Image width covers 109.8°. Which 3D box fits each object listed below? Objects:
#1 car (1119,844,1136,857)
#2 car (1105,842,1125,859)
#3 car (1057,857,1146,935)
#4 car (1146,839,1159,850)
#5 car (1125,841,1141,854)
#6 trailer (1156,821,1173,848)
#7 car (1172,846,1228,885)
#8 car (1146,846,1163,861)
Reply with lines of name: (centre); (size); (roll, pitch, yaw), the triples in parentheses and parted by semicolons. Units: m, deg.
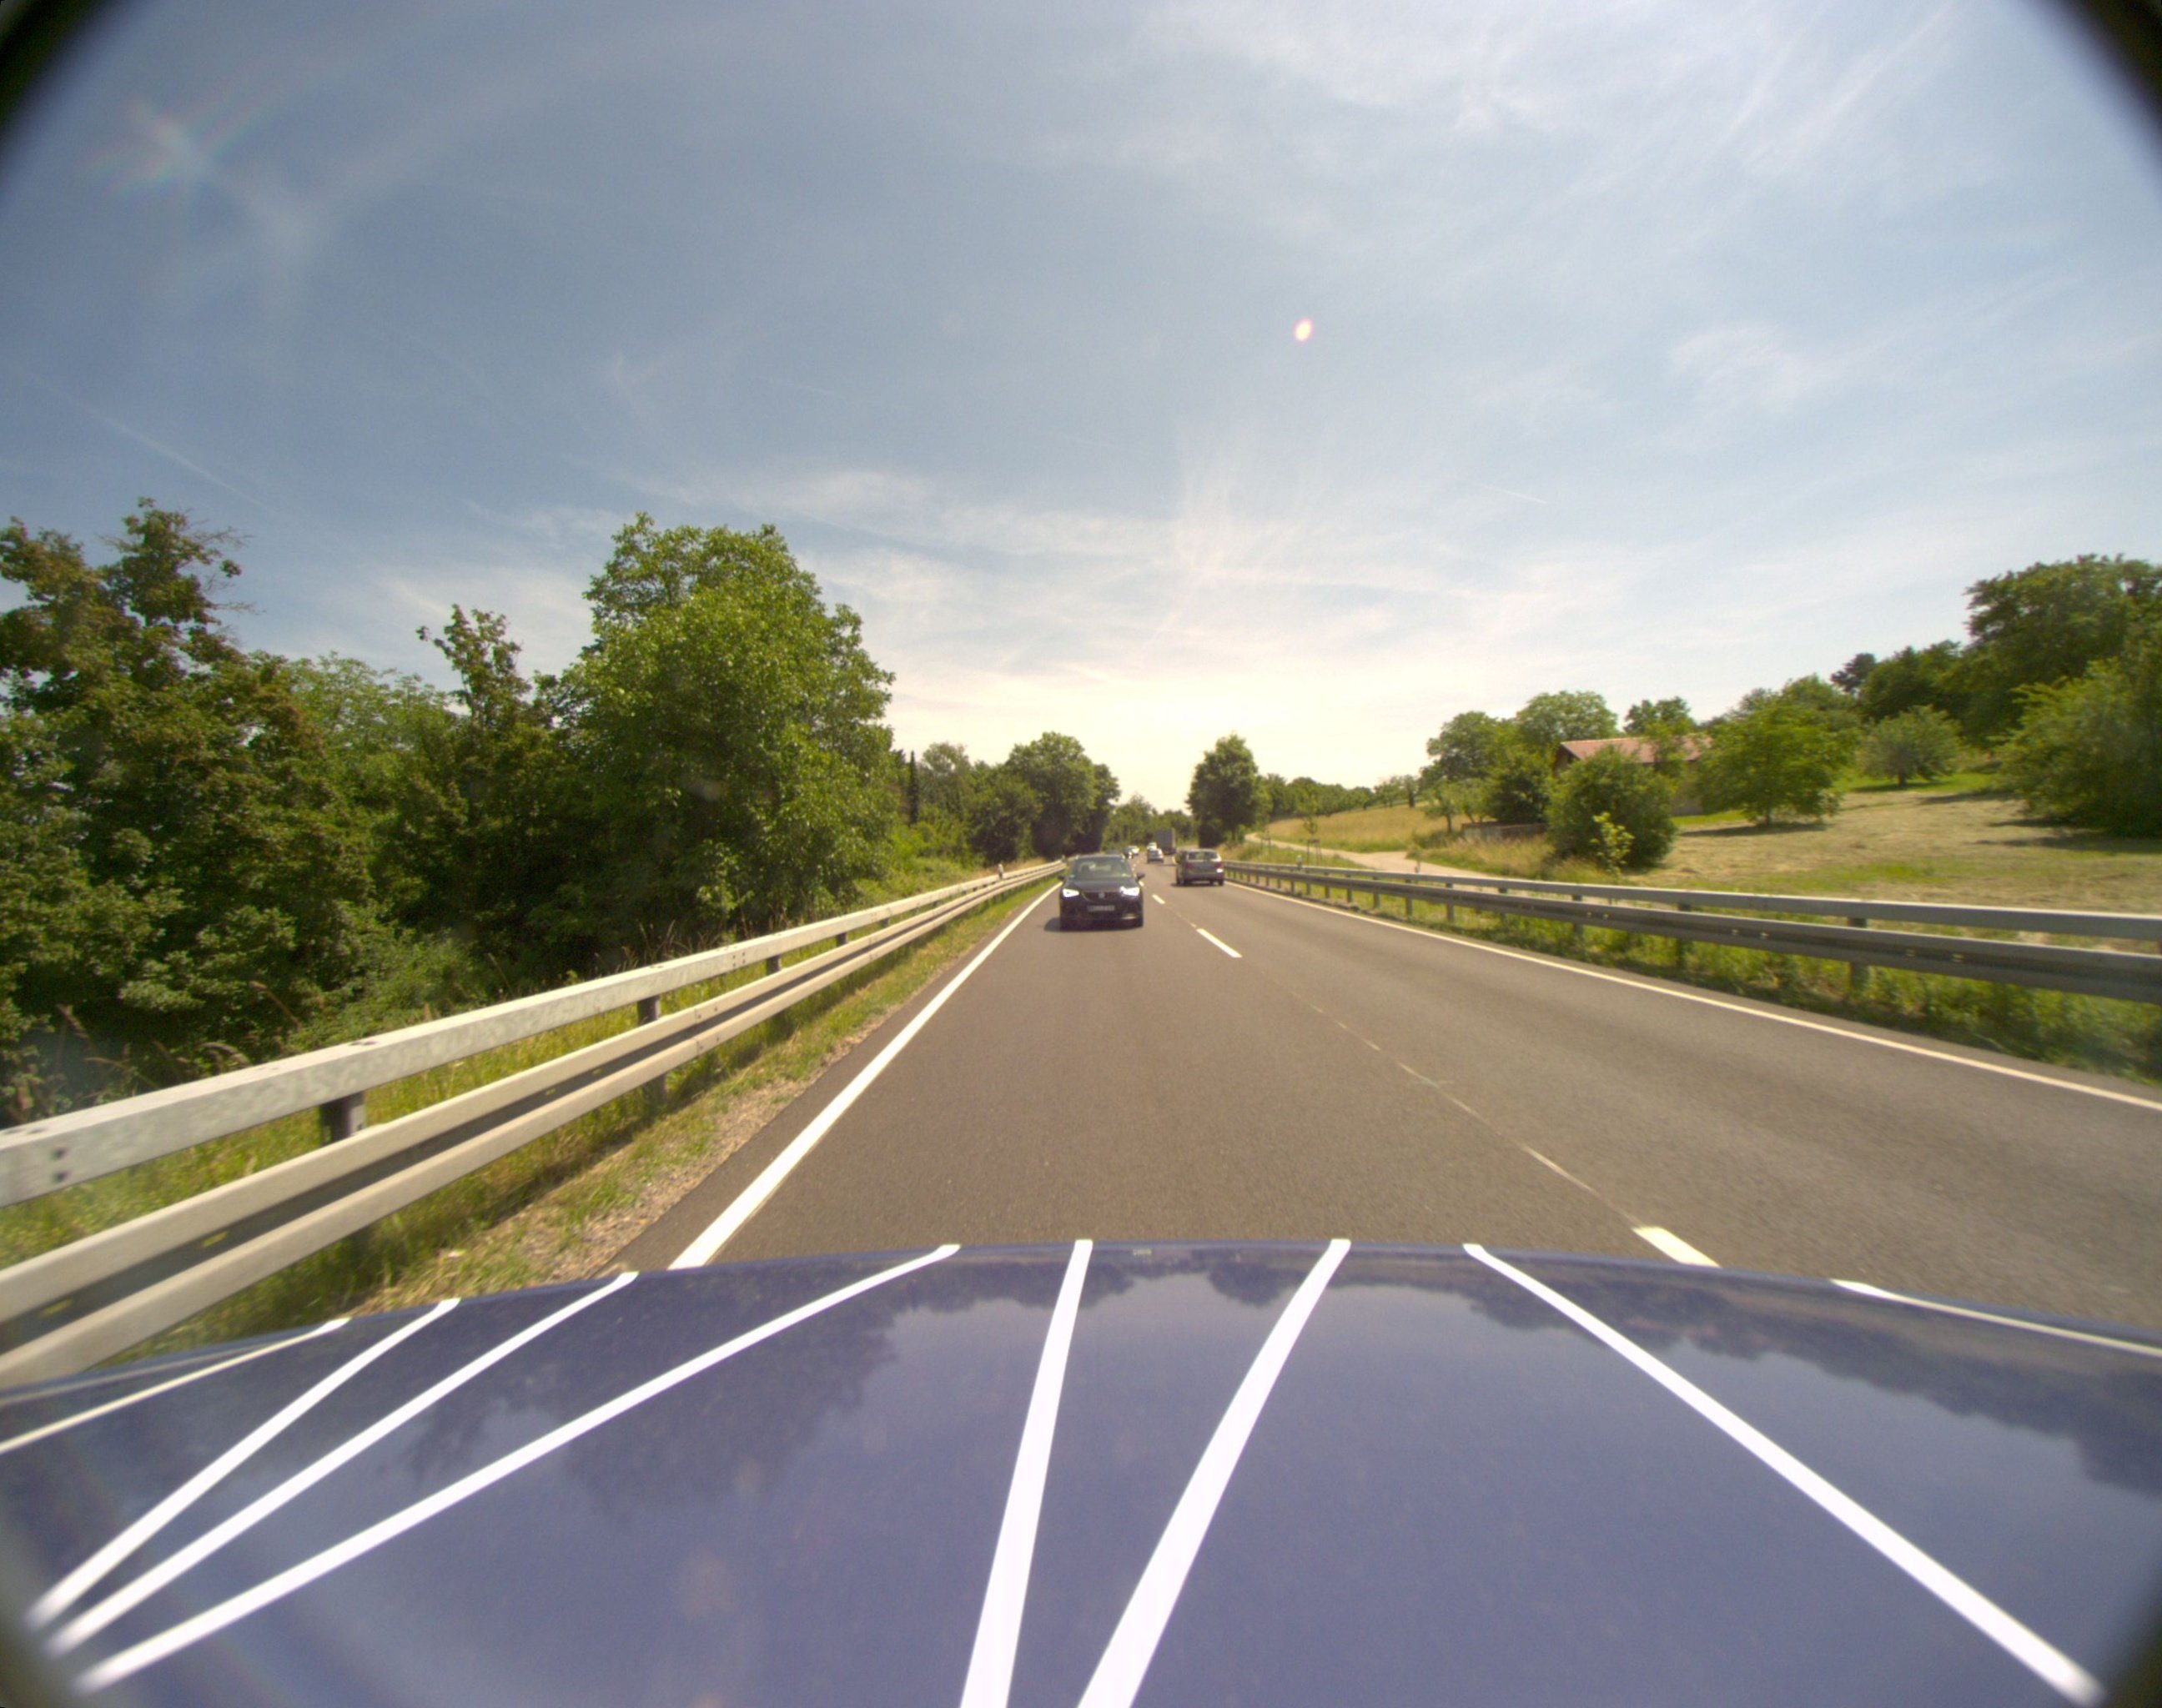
car: (6.321, -0.438, 102.245); (1.882, 1.698, 4.003); (-1, 0, 9)
car: (3.532, -0.337, 78.034); (1.883, 1.698, 4.001); (-1, 0, 5)
car: (0.405, 0.828, 16.950); (1.738, 1.467, 3.999); (-1, 0, 0)
car: (14.076, -1.902, 149.359); (1.996, 2.002, 4.003); (-2, 1, 14)
car: (8.317, -1.078, 121.580); (1.997, 2.002, 4.003); (-1, 1, 12)
trailer: (13.732, -3.077, 124.638); (2.450, 4.160, 14.020); (-1, 1, 7)
car: (5.266, 0.464, 34.149); (1.811, 1.580, 4.379); (-1, 1, 0)
car: (7.594, -0.071, 77.976); (1.649, 1.432, 4.160); (-1, 0, 6)
